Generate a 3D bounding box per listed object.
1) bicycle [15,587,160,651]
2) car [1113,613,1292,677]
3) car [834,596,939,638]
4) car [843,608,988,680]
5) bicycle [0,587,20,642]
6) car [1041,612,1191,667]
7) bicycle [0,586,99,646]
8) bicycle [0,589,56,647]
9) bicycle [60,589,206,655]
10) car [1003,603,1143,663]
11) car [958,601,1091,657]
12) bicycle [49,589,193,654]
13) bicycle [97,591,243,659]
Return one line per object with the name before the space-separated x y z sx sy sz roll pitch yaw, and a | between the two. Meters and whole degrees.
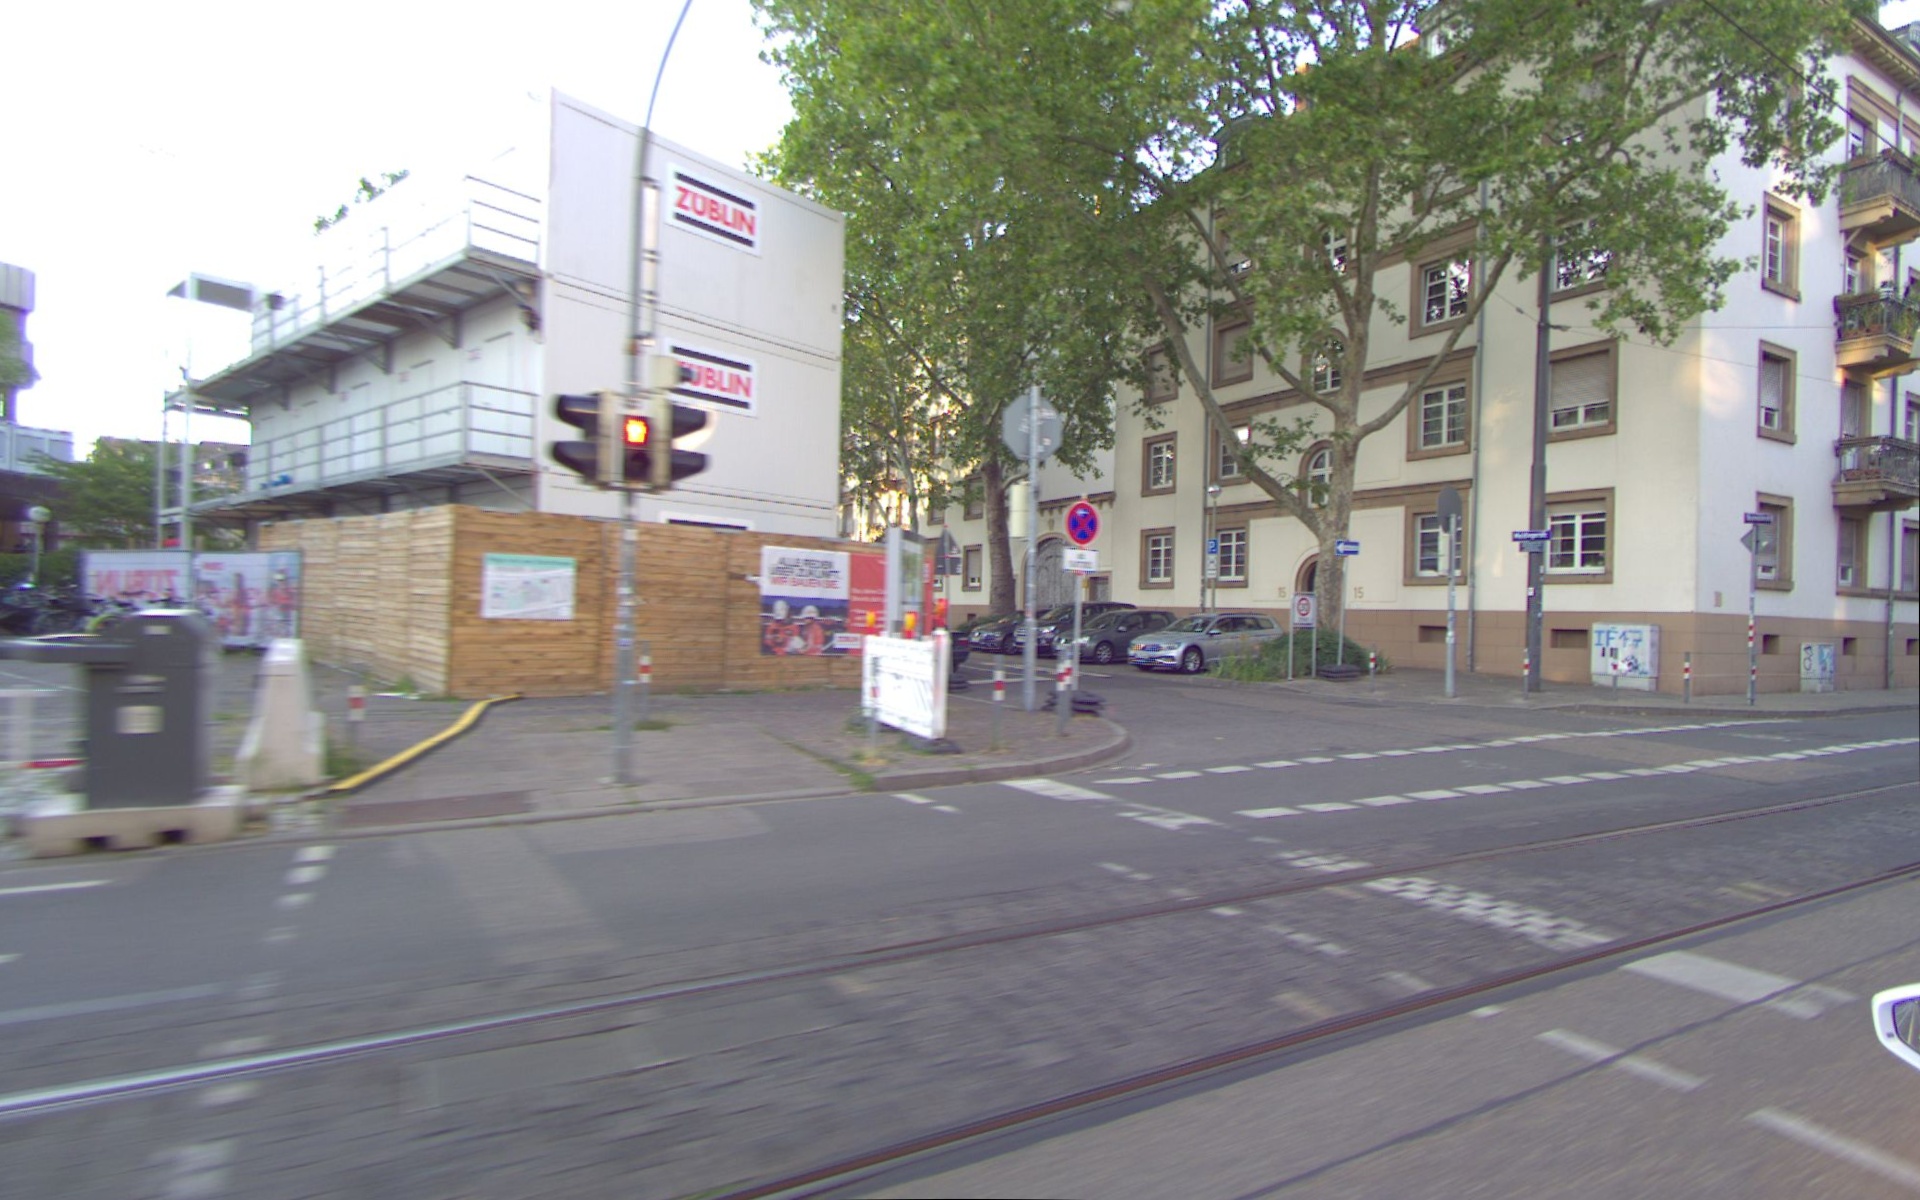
bicycle | -16.301 0.350 18.824 0.533 1.120 1.973 2 0 30
car | 6.167 1.083 25.429 4.420 1.378 1.745 -1 1 -30
car | -3.067 0.661 42.038 4.043 1.635 1.745 -1 1 -30
car | -1.119 0.917 22.882 1.737 1.378 4.062 -1 1 -28
bicycle | -19.965 0.276 19.834 0.533 1.120 1.973 2 0 30
car | 4.451 1.076 28.541 4.043 1.378 1.745 -1 1 -30
bicycle | -17.895 0.302 19.310 0.533 1.120 1.973 2 0 30
bicycle | -18.937 0.336 19.506 0.533 1.120 1.973 2 0 30
bicycle | -14.933 0.396 18.203 0.533 1.120 1.973 2 0 30
car | 3.469 0.950 30.658 4.043 1.635 1.745 -1 1 -30
car | 2.109 0.888 32.482 4.043 1.635 1.745 -1 1 -30
bicycle | -15.480 0.395 18.587 0.533 1.120 1.973 2 0 30
bicycle | -14.019 0.437 17.899 0.533 1.120 1.973 2 0 30
